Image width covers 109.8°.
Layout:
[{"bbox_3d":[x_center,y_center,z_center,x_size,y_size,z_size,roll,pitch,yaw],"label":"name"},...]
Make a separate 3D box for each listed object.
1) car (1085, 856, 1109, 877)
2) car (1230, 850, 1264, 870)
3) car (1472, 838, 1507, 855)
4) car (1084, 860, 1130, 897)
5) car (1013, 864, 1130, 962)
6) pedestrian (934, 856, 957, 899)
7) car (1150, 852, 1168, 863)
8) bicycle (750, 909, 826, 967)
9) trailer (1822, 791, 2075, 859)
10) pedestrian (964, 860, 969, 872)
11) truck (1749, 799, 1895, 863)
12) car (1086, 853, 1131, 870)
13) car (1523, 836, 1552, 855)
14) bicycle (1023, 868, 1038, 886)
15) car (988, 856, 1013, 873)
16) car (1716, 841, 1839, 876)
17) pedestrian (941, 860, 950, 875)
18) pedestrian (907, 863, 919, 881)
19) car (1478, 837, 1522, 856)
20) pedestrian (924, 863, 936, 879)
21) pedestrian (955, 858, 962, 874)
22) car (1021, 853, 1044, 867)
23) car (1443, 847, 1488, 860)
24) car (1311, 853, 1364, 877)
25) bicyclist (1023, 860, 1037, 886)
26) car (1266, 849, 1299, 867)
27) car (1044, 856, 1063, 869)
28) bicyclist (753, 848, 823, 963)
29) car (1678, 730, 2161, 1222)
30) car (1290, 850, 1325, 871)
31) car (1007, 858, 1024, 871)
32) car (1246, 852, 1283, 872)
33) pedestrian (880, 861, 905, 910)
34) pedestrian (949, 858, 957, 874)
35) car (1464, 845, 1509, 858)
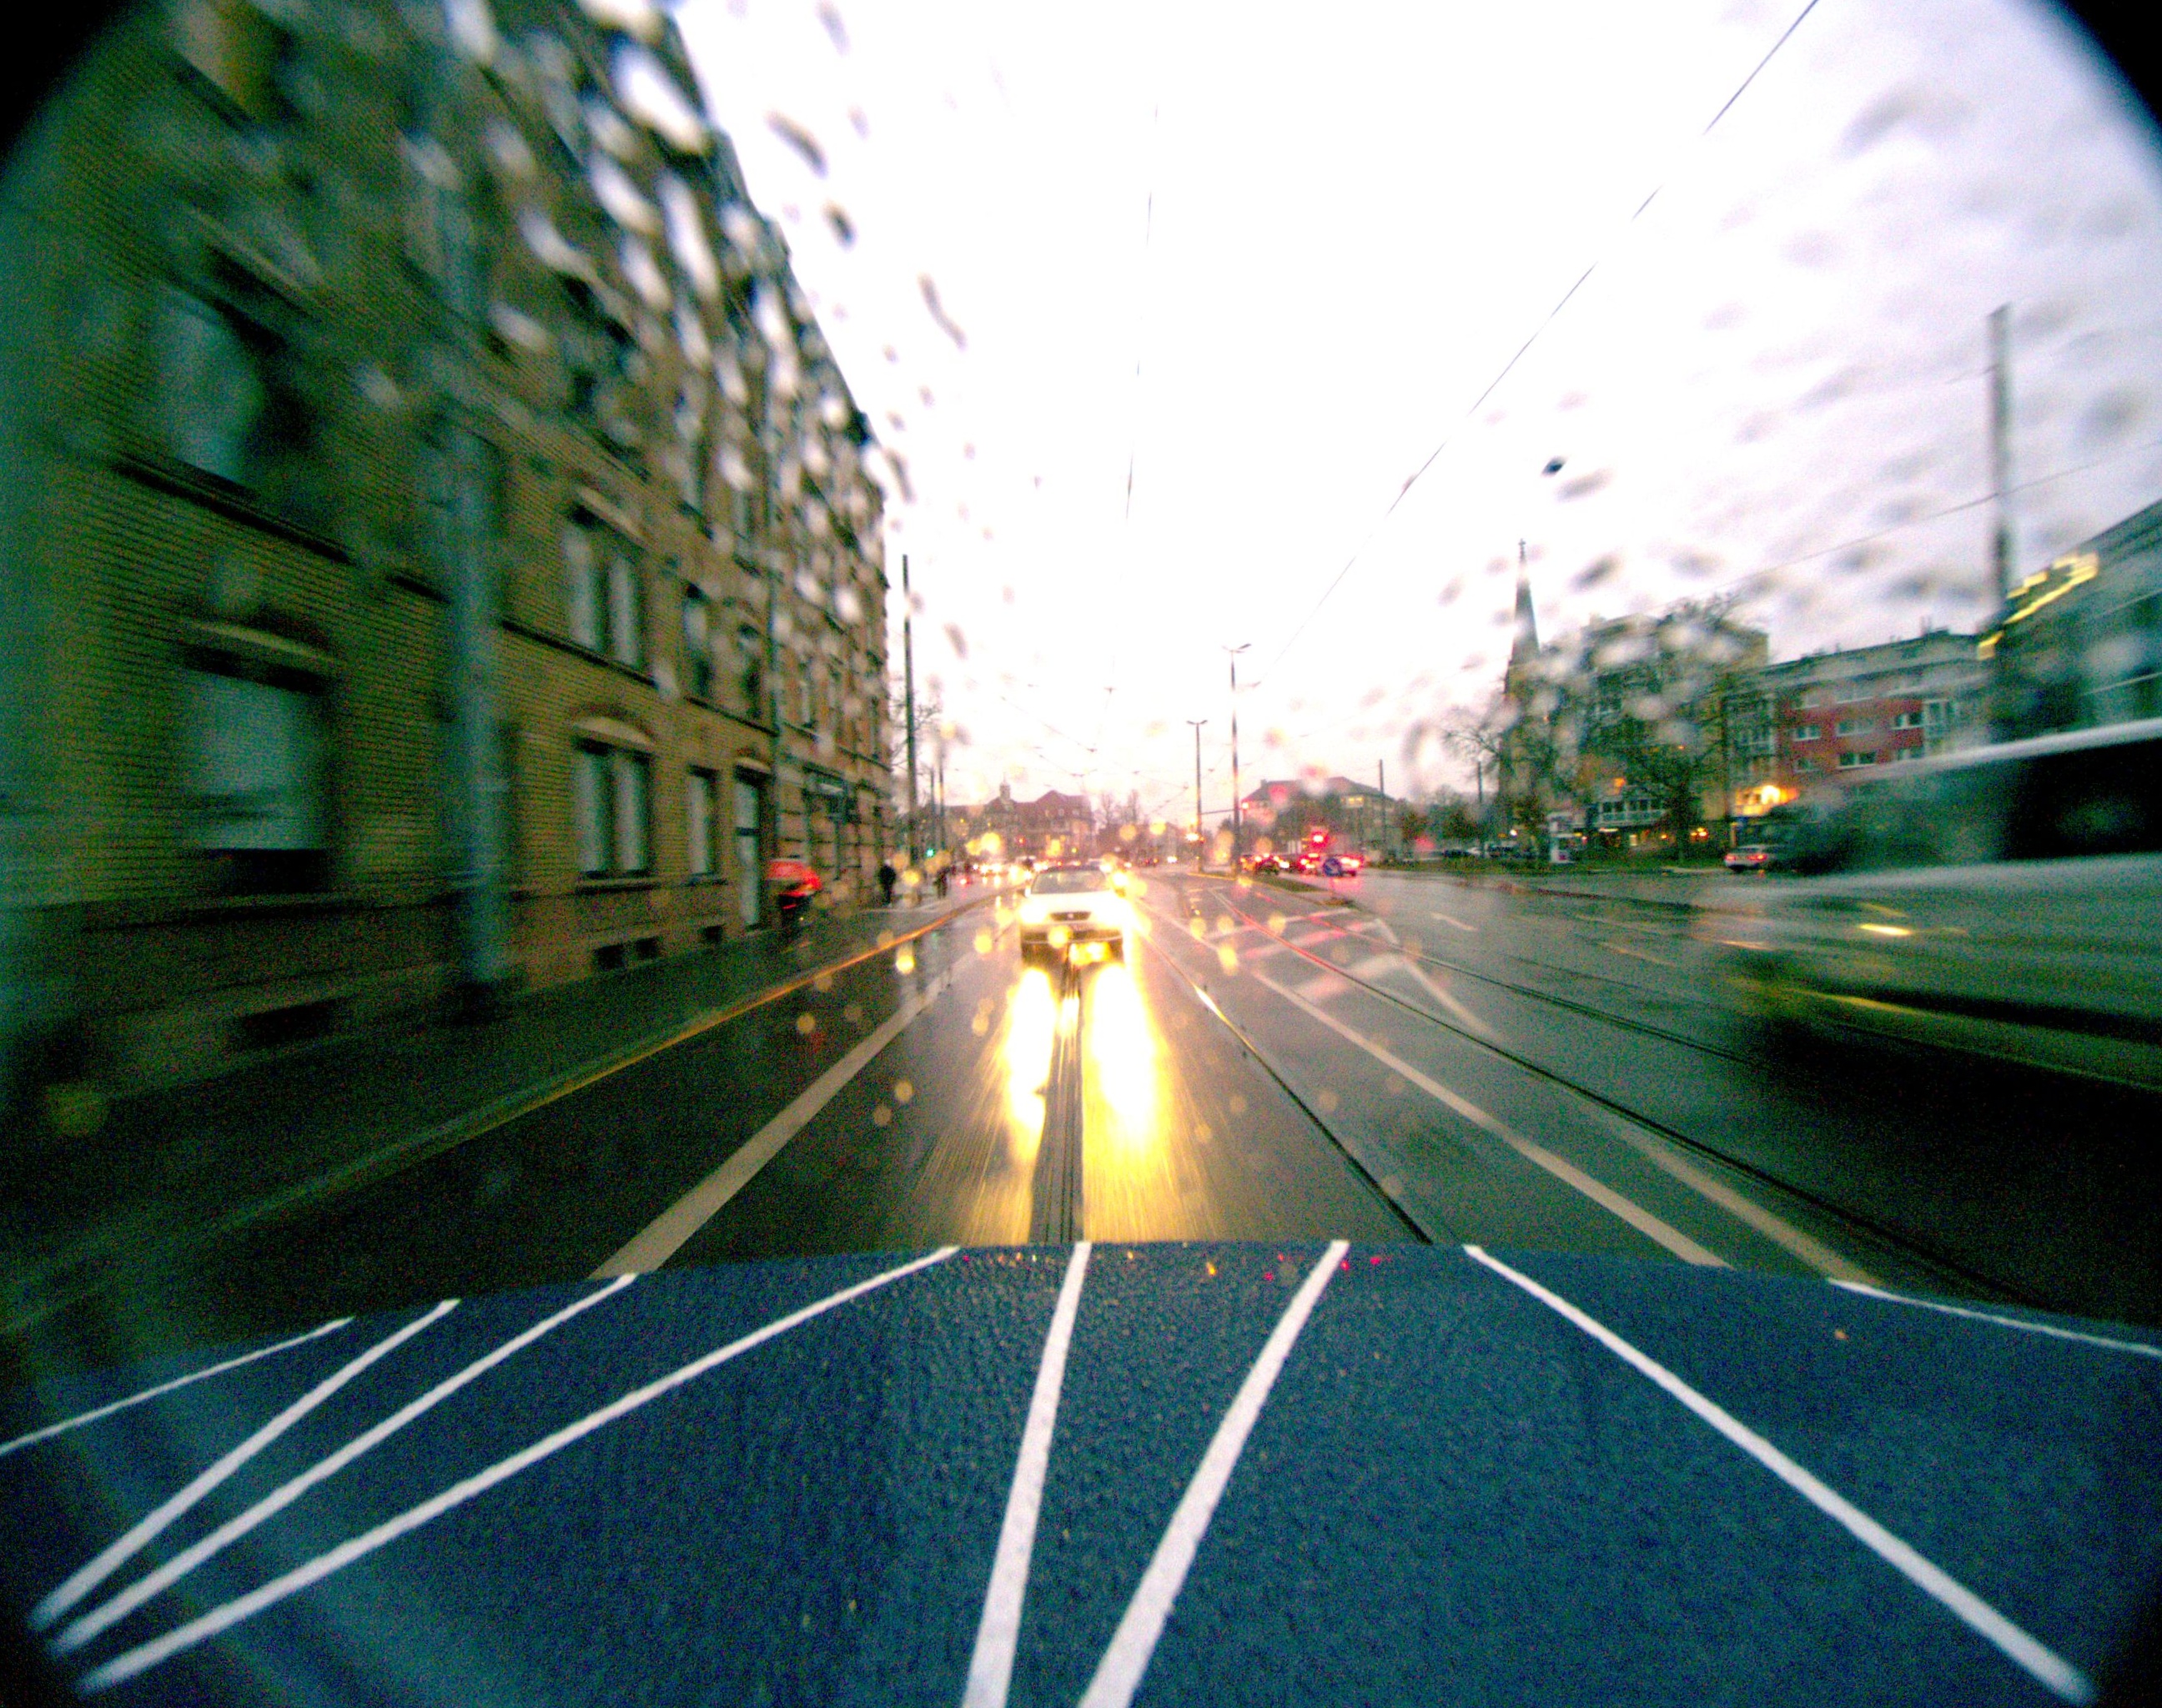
[{"bbox_3d":[1.282,0.950,61.643,1.824,1.565,4.000,-2,0,0],"label":"car"},{"bbox_3d":[13.334,0.467,61.339,1.904,1.477,4.000,-2,0,2],"label":"car"},{"bbox_3d":[54.509,-1.003,101.521,3.990,2.002,2.003,-3,1,26],"label":"car"},{"bbox_3d":[1.101,1.001,32.652,1.797,1.415,4.000,-2,0,2],"label":"car"},{"bbox_3d":[-0.086,0.955,13.987,1.797,1.415,4.000,-2,0,2],"label":"car"},{"bbox_3d":[-5.831,0.993,32.794,0.753,1.814,0.711,-2,1,3],"label":"pedestrian"},{"bbox_3d":[11.886,0.564,115.871,1.996,1.543,4.004,-3,1,17],"label":"car"},{"bbox_3d":[-5.011,1.416,13.106,0.609,0.756,1.860,-2,0,-2],"label":"bicycle"},{"bbox_3d":[53.156,-1.802,46.566,15.057,3.398,2.634,-3,1,-9],"label":"trailer"},{"bbox_3d":[-16.173,1.678,107.353,0.638,1.752,0.510,-3,1,-12],"label":"pedestrian"},{"bbox_3d":[43.857,-1.340,45.034,6.756,3.398,2.655,-3,1,-9],"label":"truck"},{"bbox_3d":[3.454,0.945,96.682,5.538,2.002,2.004,-2,1,38],"label":"car"},{"bbox_3d":[50.280,-0.946,83.708,1.994,2.002,4.007,-2,1,42],"label":"car"},{"bbox_3d":[-3.083,1.382,46.316,0.725,0.985,2.212,-2,0,-1],"label":"bicycle"},{"bbox_3d":[-9.711,1.233,91.710,1.998,1.827,4.872,-2,0,5],"label":"car"},{"bbox_3d":[35.003,0.217,38.233,4.810,1.488,1.998,-2,0,-10],"label":"car"},{"bbox_3d":[-15.243,1.500,85.282,0.710,1.610,0.747,-3,1,-33],"label":"pedestrian"},{"bbox_3d":[-15.890,1.700,71.808,0.818,1.666,0.749,-2,1,10],"label":"pedestrian"},{"bbox_3d":[48.714,-0.817,88.455,2.003,2.002,3.990,-3,1,-36],"label":"car"},{"bbox_3d":[-14.881,1.669,74.967,0.821,1.610,0.747,-3,1,-33],"label":"pedestrian"},{"bbox_3d":[-13.674,1.338,84.798,0.511,1.752,0.637,-3,1,-33],"label":"pedestrian"},{"bbox_3d":[-6.647,0.781,103.912,2.022,1.809,3.681,-3,1,-24],"label":"car"},{"bbox_3d":[42.464,-0.067,83.977,2.003,1.302,3.990,-3,1,-36],"label":"car"},{"bbox_3d":[16.312,0.666,48.569,1.998,1.413,4.588,-2,0,3],"label":"car"},{"bbox_3d":[-3.087,1.162,46.342,0.727,1.525,0.785,-2,1,-1],"label":"bicyclist"},{"bbox_3d":[16.730,0.308,63.276,1.728,1.350,4.000,-2,0,2],"label":"car"},{"bbox_3d":[-4.079,1.246,111.853,1.826,1.922,3.995,-2,0,-16],"label":"car"},{"bbox_3d":[-5.019,0.849,13.084,0.747,1.869,1.111,-2,1,-2],"label":"bicyclist"},{"bbox_3d":[5.421,0.450,3.506,1.997,2.002,4.686,-3,1,7],"label":"car"},{"bbox_3d":[16.509,0.451,55.512,1.604,1.410,3.472,-2,0,3],"label":"car"},{"bbox_3d":[-8.591,1.371,99.547,1.829,1.499,3.801,-2,0,-9],"label":"car"},{"bbox_3d":[13.074,0.562,54.314,1.876,1.382,4.001,0,0,3],"label":"car"},{"bbox_3d":[-6.117,0.999,24.628,0.634,1.539,0.710,-2,1,-7],"label":"pedestrian"},{"bbox_3d":[-14.364,1.326,85.293,0.651,1.811,0.637,-3,1,-33],"label":"pedestrian"},{"bbox_3d":[46.146,-0.251,86.529,2.003,1.302,3.990,-3,1,-36],"label":"car"}]
